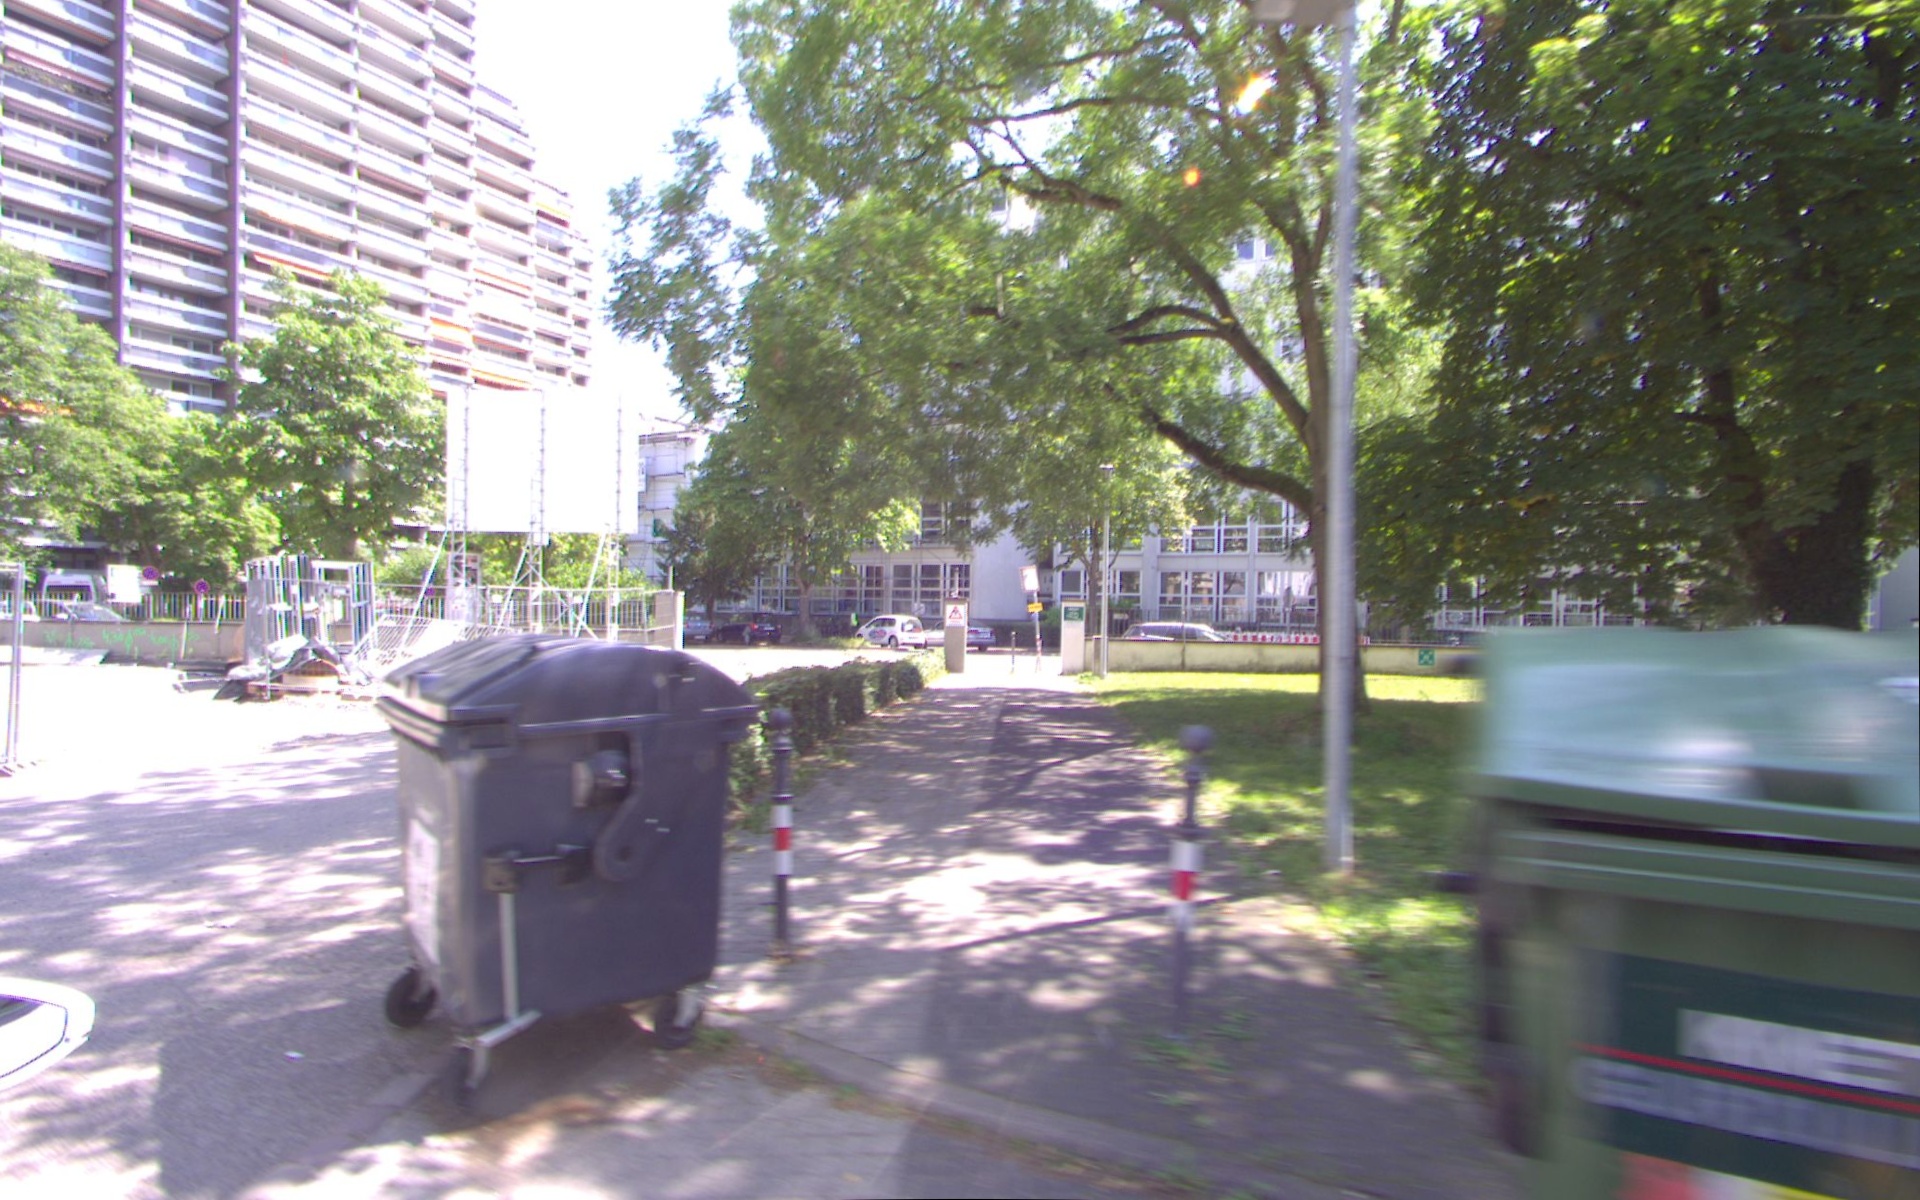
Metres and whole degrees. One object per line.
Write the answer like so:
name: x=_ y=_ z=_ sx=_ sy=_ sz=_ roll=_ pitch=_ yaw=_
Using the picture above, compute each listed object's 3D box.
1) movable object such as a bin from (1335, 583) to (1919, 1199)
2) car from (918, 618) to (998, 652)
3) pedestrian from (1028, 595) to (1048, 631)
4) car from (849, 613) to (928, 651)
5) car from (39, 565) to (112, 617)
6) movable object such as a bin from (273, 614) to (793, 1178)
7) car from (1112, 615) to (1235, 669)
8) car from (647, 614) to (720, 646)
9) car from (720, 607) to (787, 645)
movable object such as a bin: x=1.349 y=0.732 z=1.419 sx=1.357 sy=1.477 sz=1.073 roll=1 pitch=0 yaw=32
car: x=-0.127 y=1.558 z=45.358 sx=1.651 sy=1.434 sz=3.680 roll=1 pitch=-1 yaw=-40
pedestrian: x=4.461 y=0.739 z=57.160 sx=0.862 sy=2.040 sz=0.994 roll=1 pitch=0 yaw=24
car: x=-3.291 y=1.434 z=45.788 sx=1.653 sy=1.610 sz=3.656 roll=1 pitch=-1 yaw=-43
car: x=-41.260 y=-0.361 z=46.815 sx=2.165 sy=2.287 sz=4.832 roll=1 pitch=-1 yaw=-37
movable object such as a bin: x=-1.454 y=0.798 z=3.468 sx=1.357 sy=1.477 sz=1.073 roll=1 pitch=0 yaw=32
car: x=6.171 y=1.208 z=29.157 sx=3.267 sy=1.498 sz=1.433 roll=1 pitch=0 yaw=2
car: x=-12.654 y=1.342 z=45.692 sx=1.898 sy=1.327 sz=3.900 roll=1 pitch=-1 yaw=-37
car: x=-9.520 y=1.160 z=45.951 sx=1.988 sy=1.651 sz=3.911 roll=1 pitch=-1 yaw=-29
